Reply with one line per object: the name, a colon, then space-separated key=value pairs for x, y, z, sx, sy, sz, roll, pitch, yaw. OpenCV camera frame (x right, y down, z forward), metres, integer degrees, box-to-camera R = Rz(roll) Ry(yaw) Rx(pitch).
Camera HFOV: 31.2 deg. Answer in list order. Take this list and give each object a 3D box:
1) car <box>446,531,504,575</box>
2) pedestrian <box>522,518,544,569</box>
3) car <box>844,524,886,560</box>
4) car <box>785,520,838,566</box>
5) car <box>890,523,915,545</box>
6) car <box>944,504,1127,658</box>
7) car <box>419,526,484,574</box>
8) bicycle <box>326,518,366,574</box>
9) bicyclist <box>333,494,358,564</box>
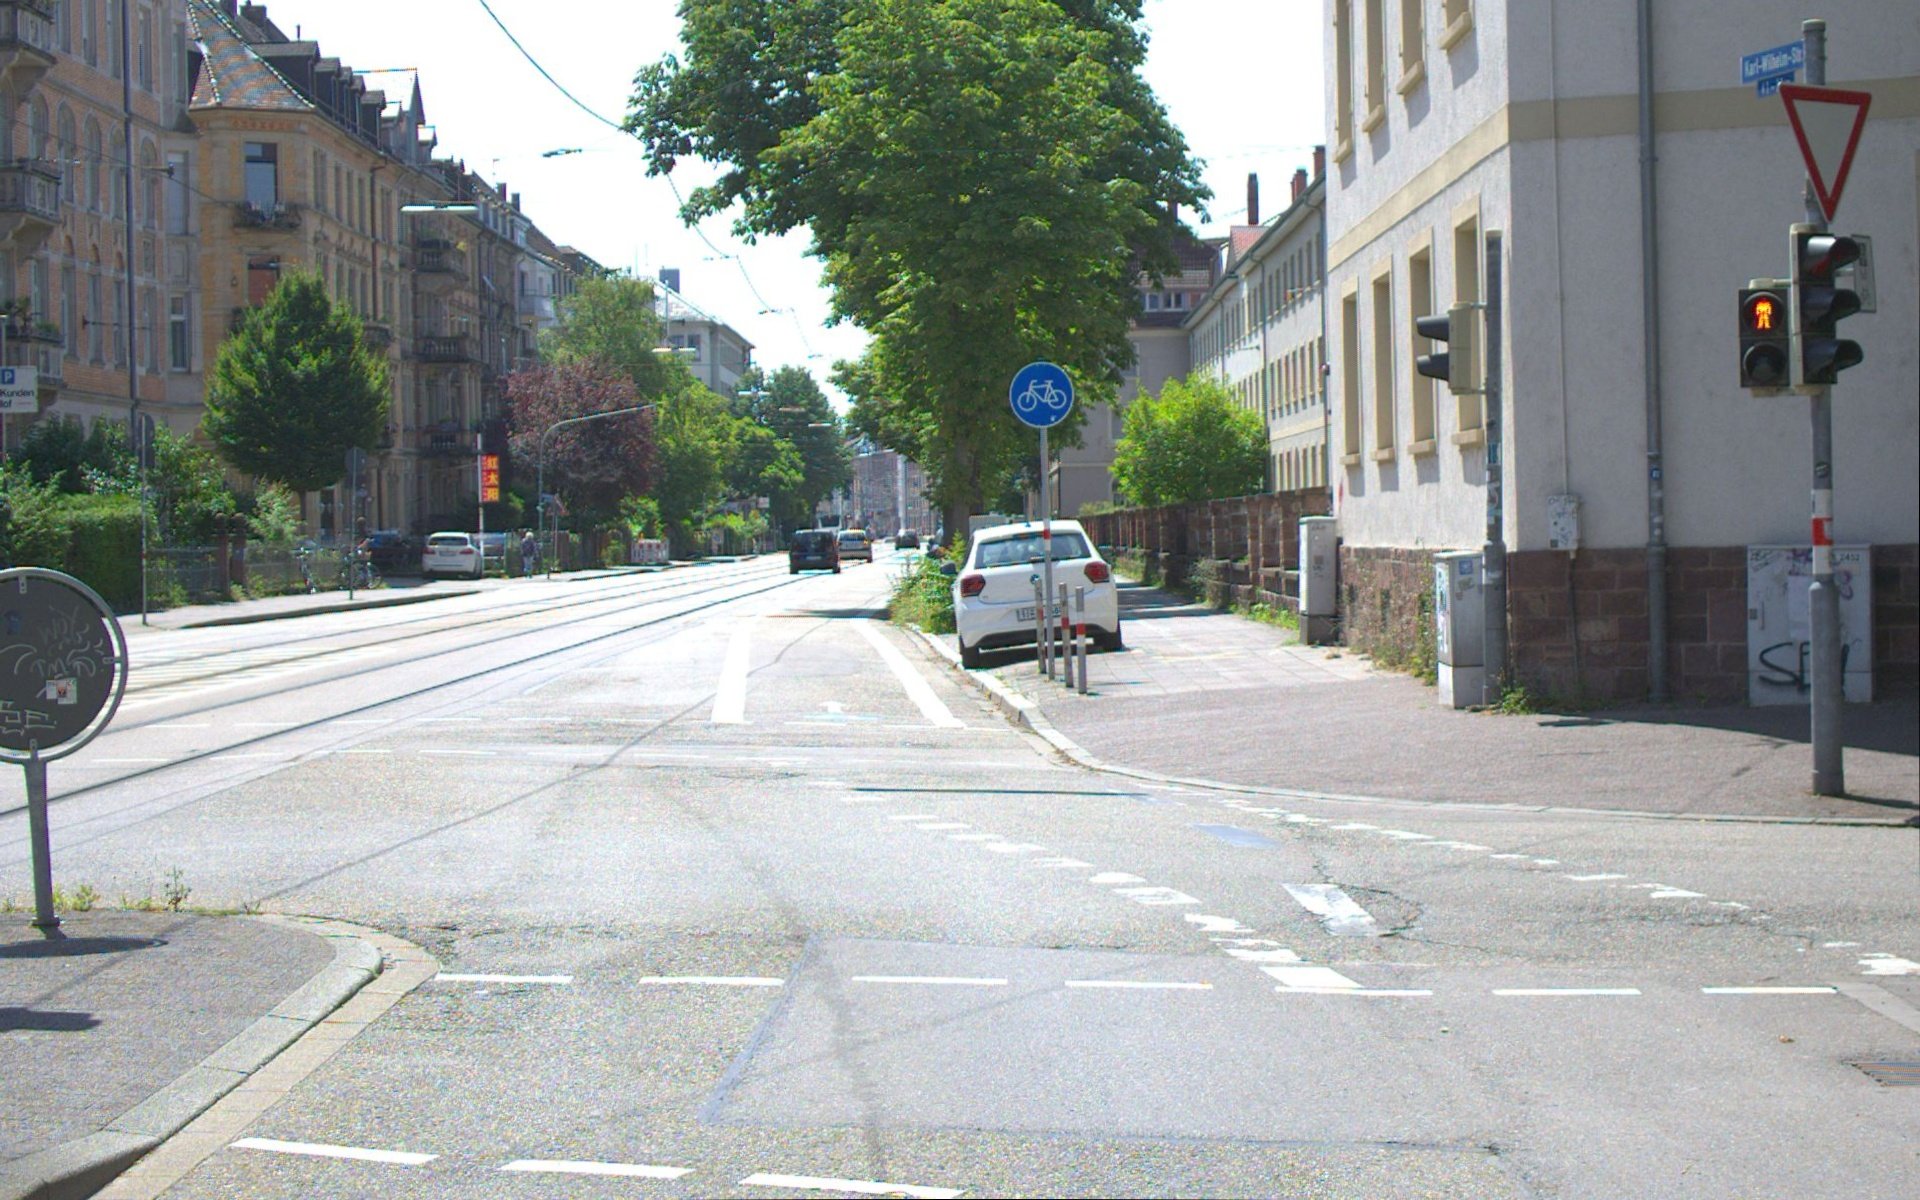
car: x=-17.496 y=-1.692 z=124.061 sx=1.628 sy=1.467 sz=3.564 roll=-4 pitch=1 yaw=-2
pedestrian: x=-14.615 y=-1.926 z=117.677 sx=0.678 sy=1.721 sz=0.677 roll=0 pitch=1 yaw=-1
car: x=-4.270 y=-2.616 z=154.911 sx=1.747 sy=1.467 sz=3.938 roll=-4 pitch=1 yaw=-1
car: x=-4.945 y=-1.912 z=114.820 sx=1.525 sy=1.439 sz=3.365 roll=-2 pitch=1 yaw=0
car: x=-4.192 y=-4.776 z=249.645 sx=1.628 sy=1.467 sz=3.564 roll=-4 pitch=1 yaw=-2
car: x=0.768 y=-0.221 z=37.374 sx=1.747 sy=1.467 sz=3.938 roll=-4 pitch=1 yaw=-1
car: x=-17.090 y=-1.673 z=115.638 sx=1.684 sy=1.467 sz=3.939 roll=-4 pitch=1 yaw=-2
bicycle: x=-15.672 y=-1.378 z=87.787 sx=0.577 sy=1.383 sz=2.501 roll=0 pitch=1 yaw=-1
bicyclist: x=-15.674 y=-1.811 z=87.722 sx=0.542 sy=1.757 sz=0.498 roll=0 pitch=1 yaw=-1
